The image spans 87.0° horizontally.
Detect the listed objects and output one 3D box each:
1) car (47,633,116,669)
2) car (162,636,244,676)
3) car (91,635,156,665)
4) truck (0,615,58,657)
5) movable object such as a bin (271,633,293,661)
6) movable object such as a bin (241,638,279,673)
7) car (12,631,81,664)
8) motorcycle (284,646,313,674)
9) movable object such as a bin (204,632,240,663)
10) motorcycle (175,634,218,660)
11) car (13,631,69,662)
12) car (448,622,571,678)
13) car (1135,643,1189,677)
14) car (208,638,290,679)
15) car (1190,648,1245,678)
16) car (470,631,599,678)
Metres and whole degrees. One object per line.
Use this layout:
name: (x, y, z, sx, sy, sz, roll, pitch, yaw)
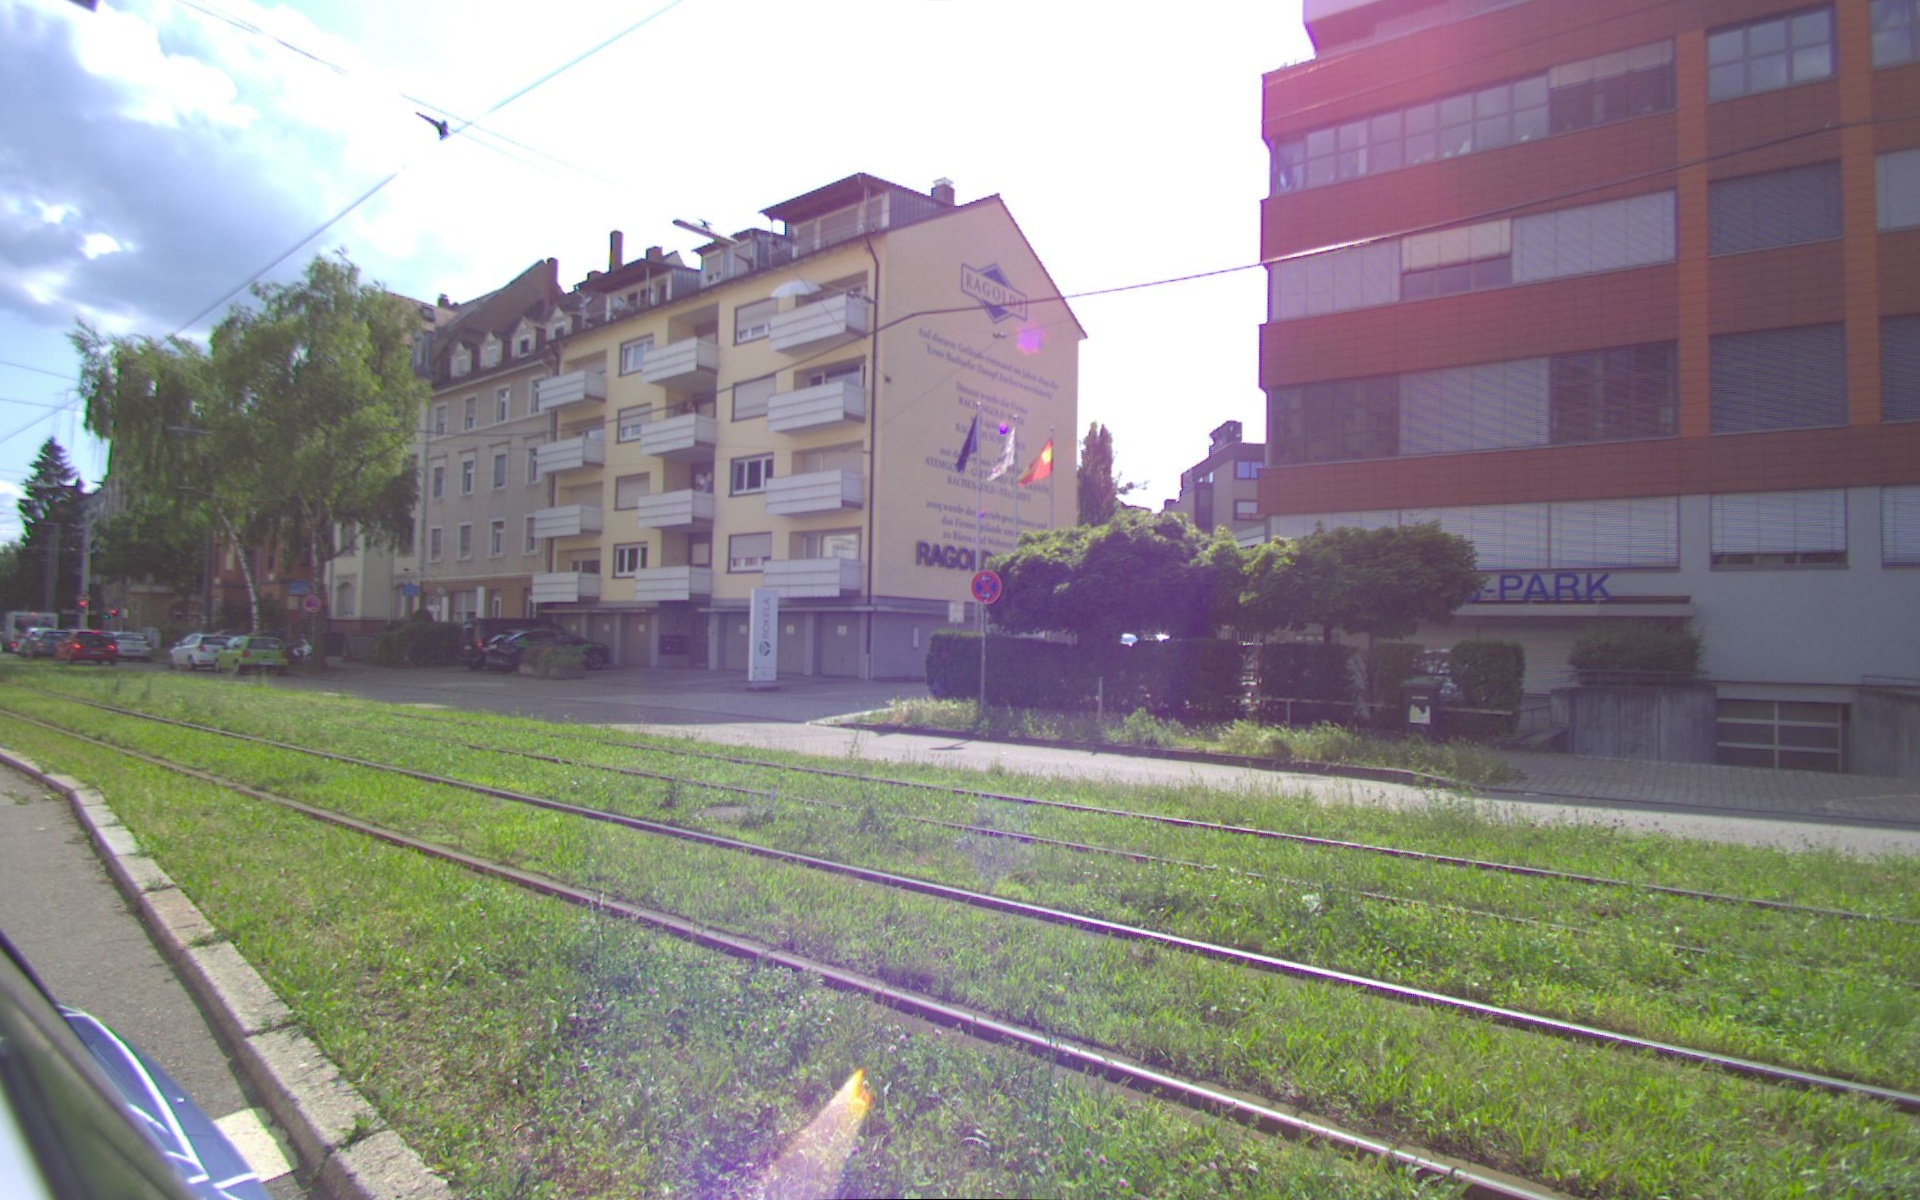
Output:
car: (-37.107, 2.148, 42.734, 3.689, 1.397, 1.563, -1, -4, 40)
car: (-30.708, 2.261, 40.997, 4.221, 1.489, 1.628, -1, -5, 40)
car: (-40.934, 2.436, 49.472, 3.992, 1.366, 1.737, -1, -4, 41)
truck: (-53.999, 2.096, 58.466, 6.612, 2.231, 2.161, -2, -5, 43)
movable object such as a bin: (-34.444, 2.382, 51.435, 0.698, 1.372, 0.667, -1, -4, 36)
movable object such as a bin: (-30.103, 2.385, 43.522, 1.520, 1.441, 0.941, -1, -1, 38)
car: (-42.700, 2.208, 47.277, 4.509, 1.366, 1.737, -1, -5, 41)
motorcycle: (-26.606, 2.396, 40.717, 1.630, 1.050, 0.494, 0, 1, 39)
movable object such as a bin: (-34.908, 2.249, 47.874, 1.520, 1.377, 0.942, -1, 1, 38)
motorcycle: (-37.297, 2.297, 49.436, 2.288, 1.252, 0.893, -1, -3, 33)
car: (-47.109, 2.378, 51.856, 4.134, 1.425, 1.736, -1, -5, 43)
car: (-17.529, 1.893, 39.465, 1.936, 2.029, 3.944, -2, -2, 42)
car: (11.397, 3.376, 57.408, 1.743, 1.827, 4.007, 2, -3, -8)
car: (-26.605, 2.174, 37.821, 3.611, 1.443, 1.578, -1, -4, 40)
car: (15.220, 3.716, 60.083, 1.743, 1.708, 4.007, 2, -3, -8)
car: (-15.677, 1.962, 37.437, 1.971, 1.614, 3.948, -1, -2, 39)
